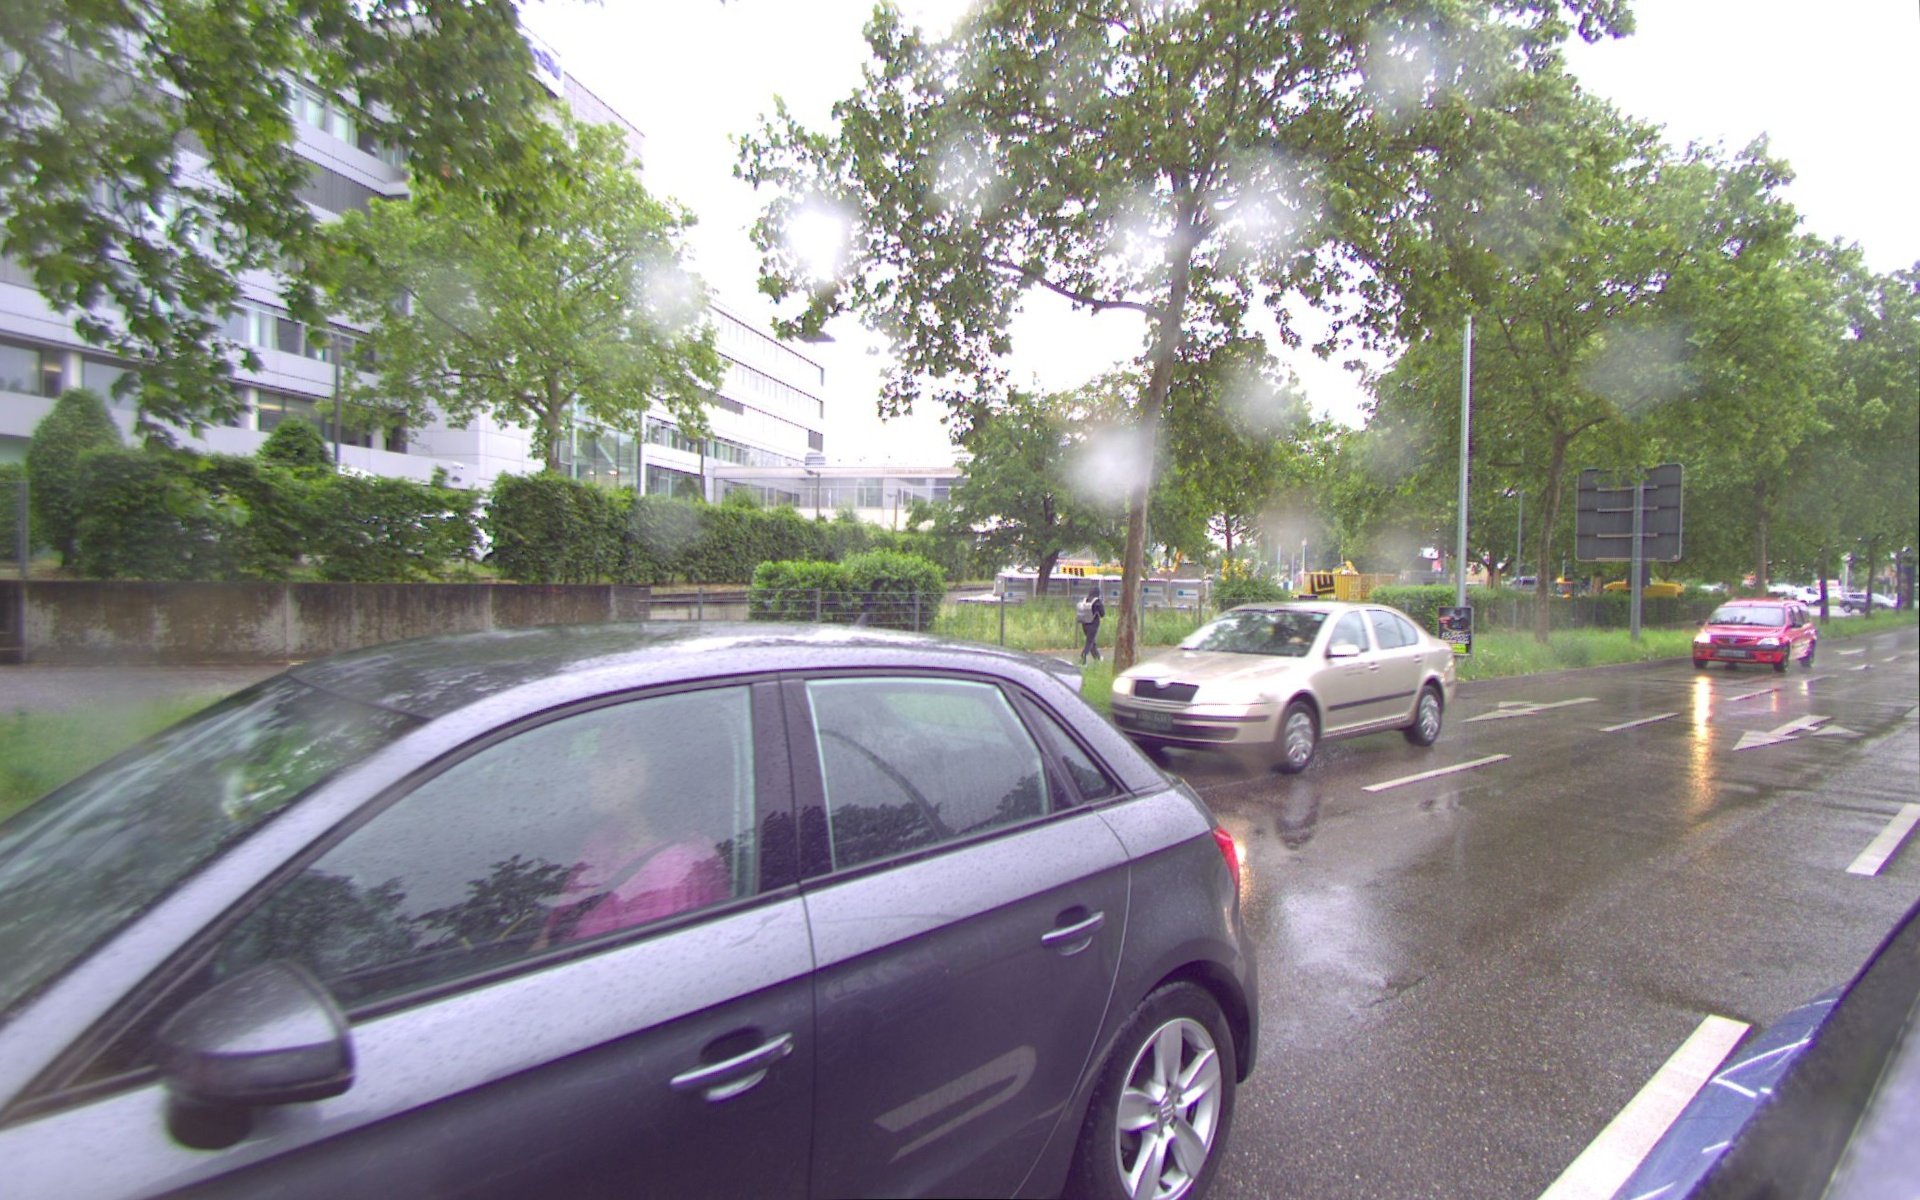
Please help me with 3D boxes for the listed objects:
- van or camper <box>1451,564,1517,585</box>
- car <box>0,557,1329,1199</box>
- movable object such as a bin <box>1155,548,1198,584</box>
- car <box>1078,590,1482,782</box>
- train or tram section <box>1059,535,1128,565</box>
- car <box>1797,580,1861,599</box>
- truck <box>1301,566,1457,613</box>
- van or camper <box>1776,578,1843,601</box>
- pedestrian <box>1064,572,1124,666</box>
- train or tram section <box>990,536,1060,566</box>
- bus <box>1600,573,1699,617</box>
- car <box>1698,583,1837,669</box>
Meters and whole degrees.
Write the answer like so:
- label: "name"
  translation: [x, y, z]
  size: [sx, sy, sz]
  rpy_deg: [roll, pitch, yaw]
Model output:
- label: "van or camper"
  translation: [83.971, -4.090, 162.391]
  size: [8.846, 3.196, 2.976]
  rpy_deg: [0, 1, 14]
- label: "car"
  translation: [-1.117, 0.679, 2.123]
  size: [3.932, 1.470, 1.996]
  rpy_deg: [-1, 1, -43]
- label: "movable object such as a bin"
  translation: [22.312, -3.510, 104.340]
  size: [3.253, 3.670, 3.618]
  rpy_deg: [1, 2, -6]
- label: "car"
  translation: [3.288, 0.643, 9.943]
  size: [4.310, 1.448, 1.806]
  rpy_deg: [-1, 2, -41]
- label: "train or tram section"
  translation: [16.312, -6.095, 123.661]
  size: [8.238, 3.563, 2.393]
  rpy_deg: [0, 1, 11]
- label: "car"
  translation: [85.705, -1.080, 99.848]
  size: [4.391, 1.693, 1.863]
  rpy_deg: [2, 2, 11]
- label: "truck"
  translation: [28.253, -0.738, 68.669]
  size: [9.359, 3.069, 3.070]
  rpy_deg: [0, 1, 14]
- label: "van or camper"
  translation: [86.558, -1.067, 103.139]
  size: [4.830, 2.114, 1.863]
  rpy_deg: [2, 2, 11]
- label: "pedestrian"
  translation: [2.652, 0.358, 19.951]
  size: [0.664, 1.784, 1.059]
  rpy_deg: [1, 1, 43]
- label: "train or tram section"
  translation: [8.099, -6.016, 125.329]
  size: [8.396, 3.563, 2.393]
  rpy_deg: [0, 1, 11]
- label: "bus"
  translation: [43.626, -0.390, 64.134]
  size: [1.964, 2.680, 4.803]
  rpy_deg: [0, 1, -39]
- label: "car"
  translation: [18.818, 0.520, 23.506]
  size: [4.478, 1.791, 1.699]
  rpy_deg: [0, 2, -41]
